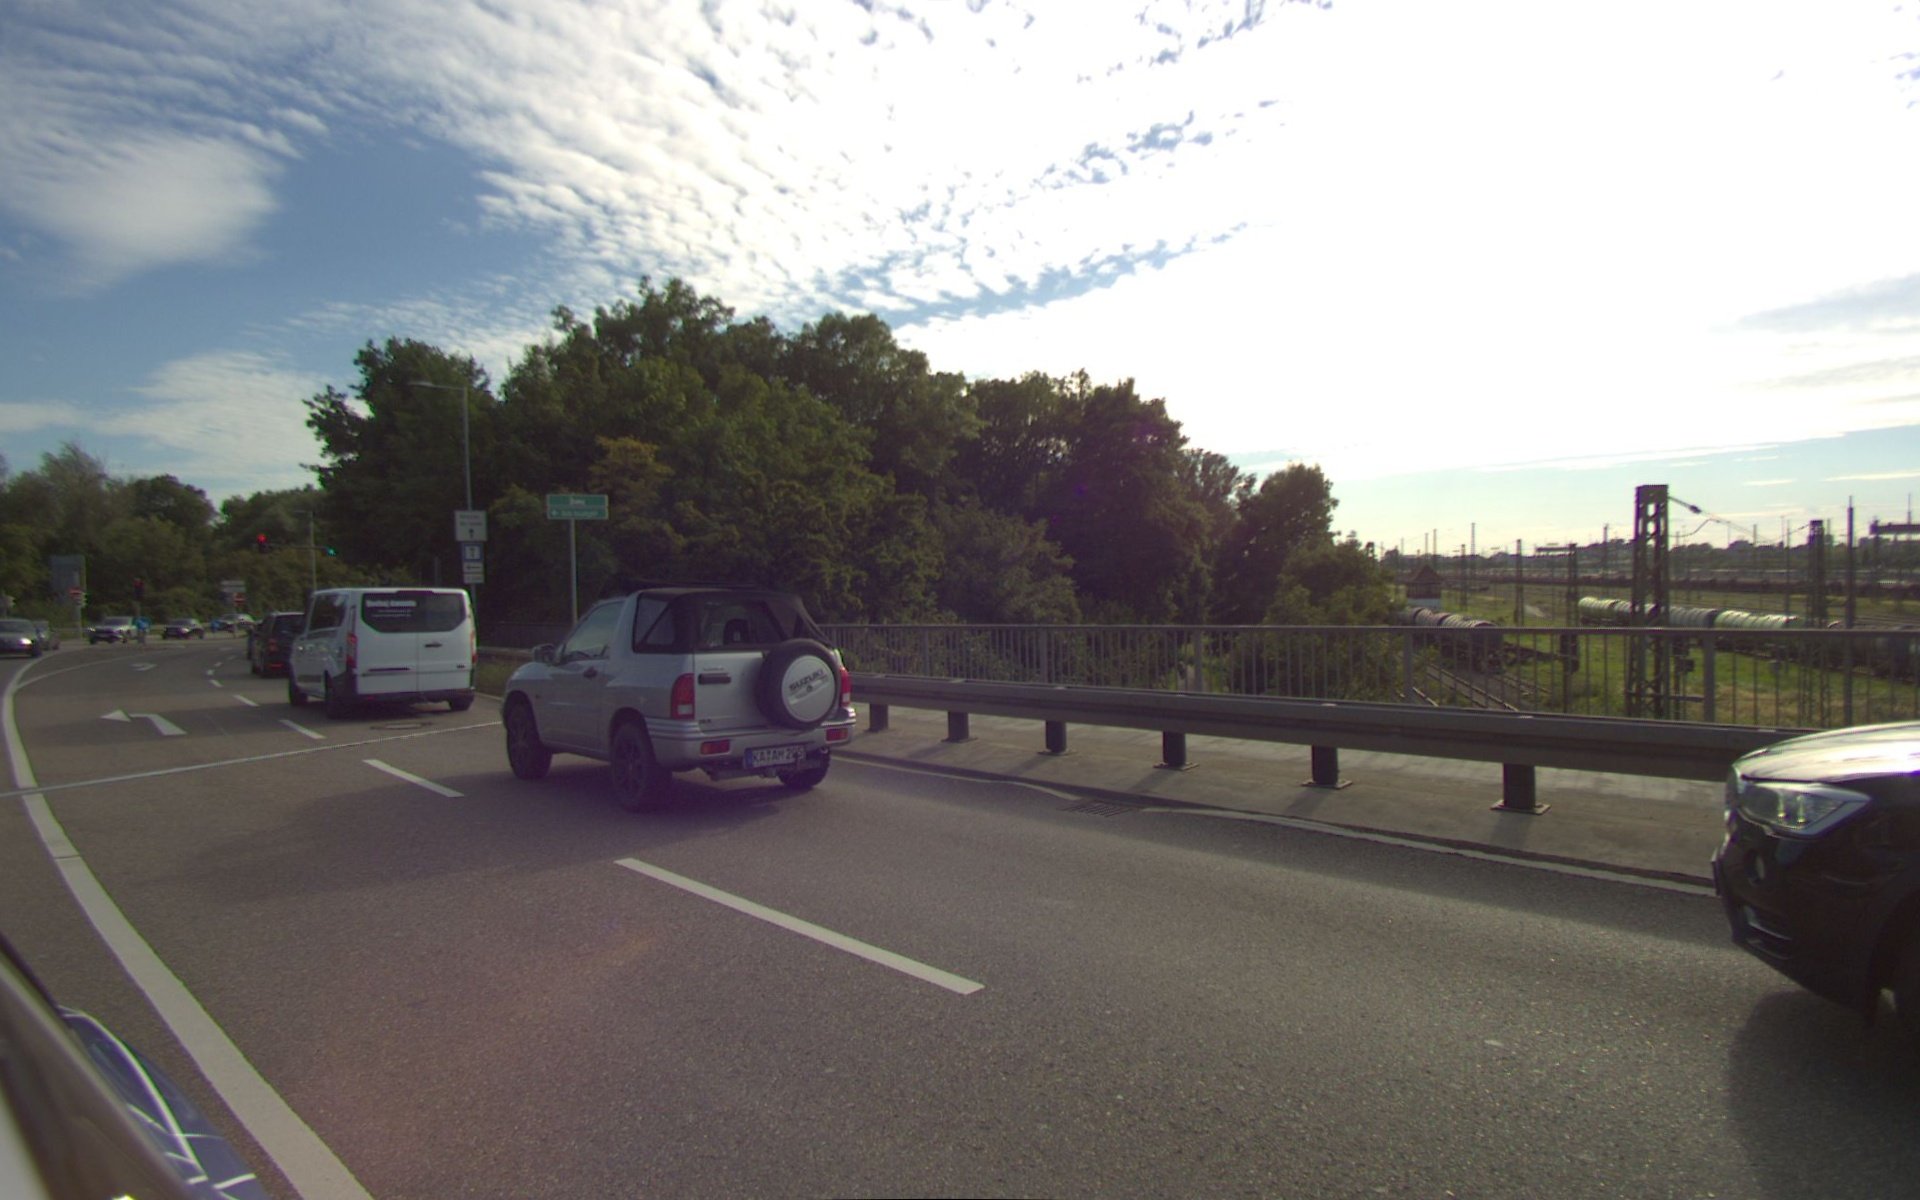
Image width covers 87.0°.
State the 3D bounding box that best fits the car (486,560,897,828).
[{"bbox_3d":[-2.460,0.659,8.669,1.753,1.759,3.840,0,-1,-44],"label":"car"}]

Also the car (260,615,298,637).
[{"bbox_3d":[-65.482,2.450,97.379,1.966,2.029,4.012,0,0,-17],"label":"car"}]

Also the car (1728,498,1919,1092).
[{"bbox_3d":[4.739,0.529,2.326,4.627,1.678,1.850,-1,-1,41],"label":"car"}]

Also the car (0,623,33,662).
[{"bbox_3d":[-34.780,1.526,36.720,1.666,1.333,3.789,0,-1,-42],"label":"car"}]

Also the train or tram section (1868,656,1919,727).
[{"bbox_3d":[68.921,6.613,69.142,3.068,4.748,16.665,0,0,15],"label":"train or tram section"}]

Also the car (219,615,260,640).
[{"bbox_3d":[-61.714,2.313,86.763,1.965,2.029,4.013,0,0,-22],"label":"car"}]

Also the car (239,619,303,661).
[{"bbox_3d":[-25.590,1.434,37.536,1.868,1.458,4.371,0,-1,-36],"label":"car"}]

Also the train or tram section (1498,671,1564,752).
[{"bbox_3d":[32.284,6.178,57.403,2.035,3.812,6.799,0,0,19],"label":"train or tram section"}]

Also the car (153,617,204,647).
[{"bbox_3d":[-55.618,2.233,72.091,1.965,2.029,4.287,0,0,-25],"label":"car"}]

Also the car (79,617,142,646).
[{"bbox_3d":[-51.944,1.892,61.947,1.965,1.612,4.295,0,0,-26],"label":"car"}]

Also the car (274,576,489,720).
[{"bbox_3d":[-9.524,0.701,16.450,1.961,1.979,5.053,0,-1,-43],"label":"car"}]

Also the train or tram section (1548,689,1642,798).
[{"bbox_3d":[27.798,6.117,44.566,2.035,3.812,6.799,0,0,19],"label":"train or tram section"}]

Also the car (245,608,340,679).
[{"bbox_3d":[-17.252,1.061,26.076,1.723,1.667,4.462,0,-1,-38],"label":"car"}]
